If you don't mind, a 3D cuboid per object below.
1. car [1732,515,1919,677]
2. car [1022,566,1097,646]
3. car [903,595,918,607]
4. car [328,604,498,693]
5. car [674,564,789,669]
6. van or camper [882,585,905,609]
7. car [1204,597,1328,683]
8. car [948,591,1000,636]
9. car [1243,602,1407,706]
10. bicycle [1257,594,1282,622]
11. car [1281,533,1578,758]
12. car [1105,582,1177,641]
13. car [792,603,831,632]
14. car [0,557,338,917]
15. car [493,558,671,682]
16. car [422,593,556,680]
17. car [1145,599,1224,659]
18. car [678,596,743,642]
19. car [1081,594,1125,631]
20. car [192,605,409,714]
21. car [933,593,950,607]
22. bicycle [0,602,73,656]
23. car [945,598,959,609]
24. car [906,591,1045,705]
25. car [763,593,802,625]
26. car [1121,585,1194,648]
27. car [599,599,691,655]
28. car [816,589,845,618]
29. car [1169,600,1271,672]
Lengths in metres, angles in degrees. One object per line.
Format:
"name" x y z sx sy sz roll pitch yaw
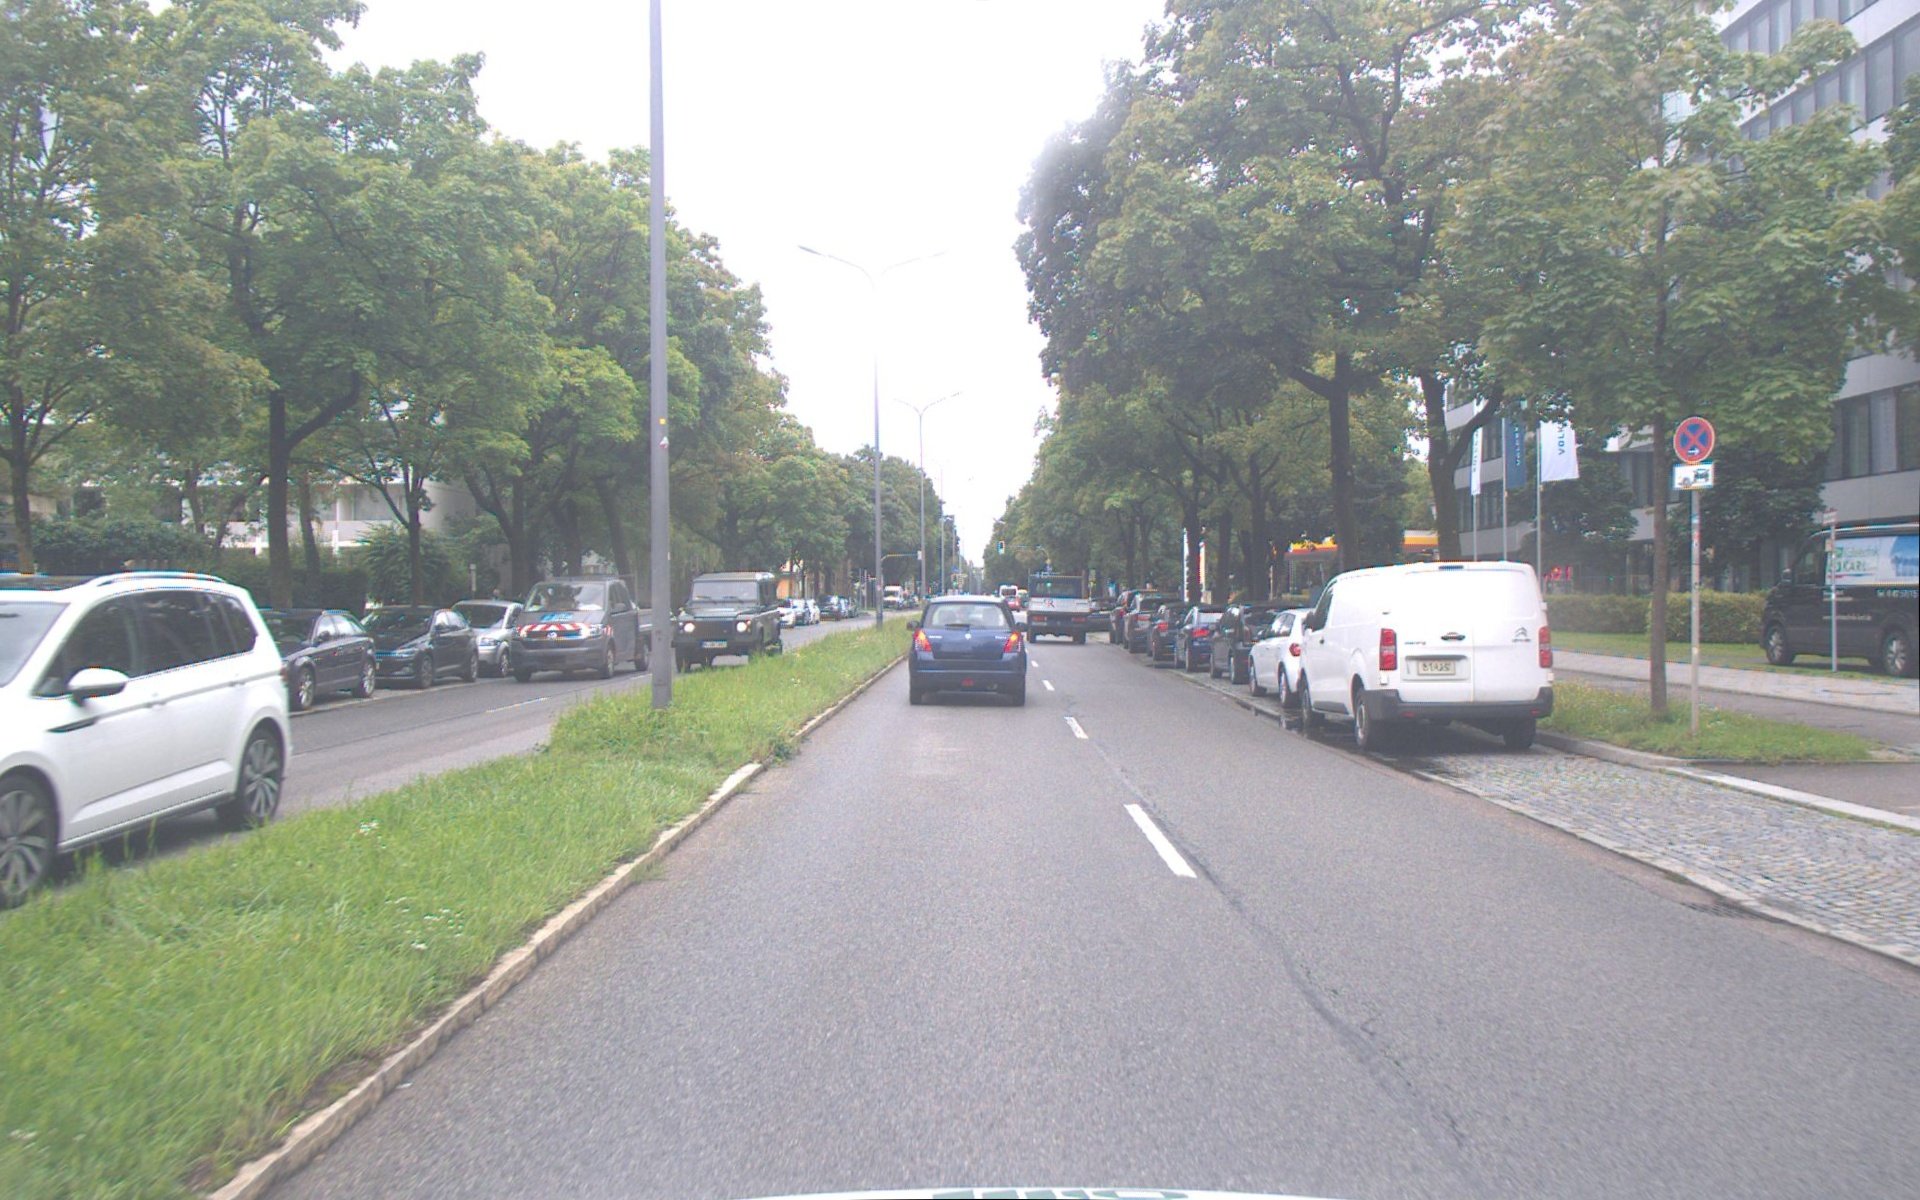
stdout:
"car" 14.947 -0.091 26.397 2.219 2.347 6.267 -1 0 -1
"car" 3.280 0.182 55.215 2.368 2.487 5.088 1 0 2
"car" -6.158 0.158 205.215 1.602 1.467 3.735 -1 0 1
"car" -10.041 0.841 30.678 1.592 1.448 4.193 2 0 2
"car" -4.814 0.310 35.448 1.744 2.065 4.818 -1 0 0
"van or camper" -7.429 -0.363 184.679 2.096 2.519 6.260 -1 0 1
"car" 5.714 0.706 31.313 1.666 1.472 3.979 -1 0 1
"car" 0.512 0.468 59.306 1.762 1.525 3.660 -1 0 1
"car" 5.533 0.766 25.550 1.666 1.422 4.233 -1 0 1
"bicycle" 13.652 0.356 72.968 0.733 1.203 2.247 -1 0 1
"car" 5.205 0.436 19.215 1.946 2.195 5.556 -1 0 1
"car" 5.903 0.344 54.441 1.854 1.831 4.861 -1 0 1
"car" -8.213 0.951 91.705 1.640 1.501 4.216 2 0 1
"car" -5.353 0.643 9.583 1.796 1.671 4.351 -1 0 0
"car" -7.553 0.360 33.723 2.164 2.232 5.799 -2 0 0
"car" -9.956 0.726 35.204 1.592 1.676 3.868 2 0 1
"car" 5.785 0.716 43.004 1.666 1.433 4.515 -1 0 3
"car" -9.429 0.678 62.778 1.721 1.622 4.489 2 0 0
"car" 6.334 0.524 73.681 1.742 1.537 4.286 -2 0 3
"car" -10.088 0.856 25.670 1.548 1.448 4.363 2 0 0
"car" -2.008 -0.008 179.975 1.703 1.465 4.216 -1 0 1
"bicycle" -22.063 0.672 39.111 1.822 1.248 0.530 -1 0 -11
"car" -1.132 0.430 225.828 1.701 1.467 4.104 -1 0 2
"car" 0.153 0.641 24.296 1.858 1.525 3.658 1 0 -2
"car" -9.187 0.458 85.694 1.656 1.593 3.079 2 0 -1
"car" 5.718 0.450 48.285 1.775 1.705 4.801 -1 0 3
"car" -9.616 0.785 50.879 1.724 1.540 4.948 2 0 1
"car" -8.575 0.192 109.730 1.760 1.794 5.055 2 0 -3
"car" 5.668 0.740 36.512 1.666 1.446 4.121 -1 0 1
